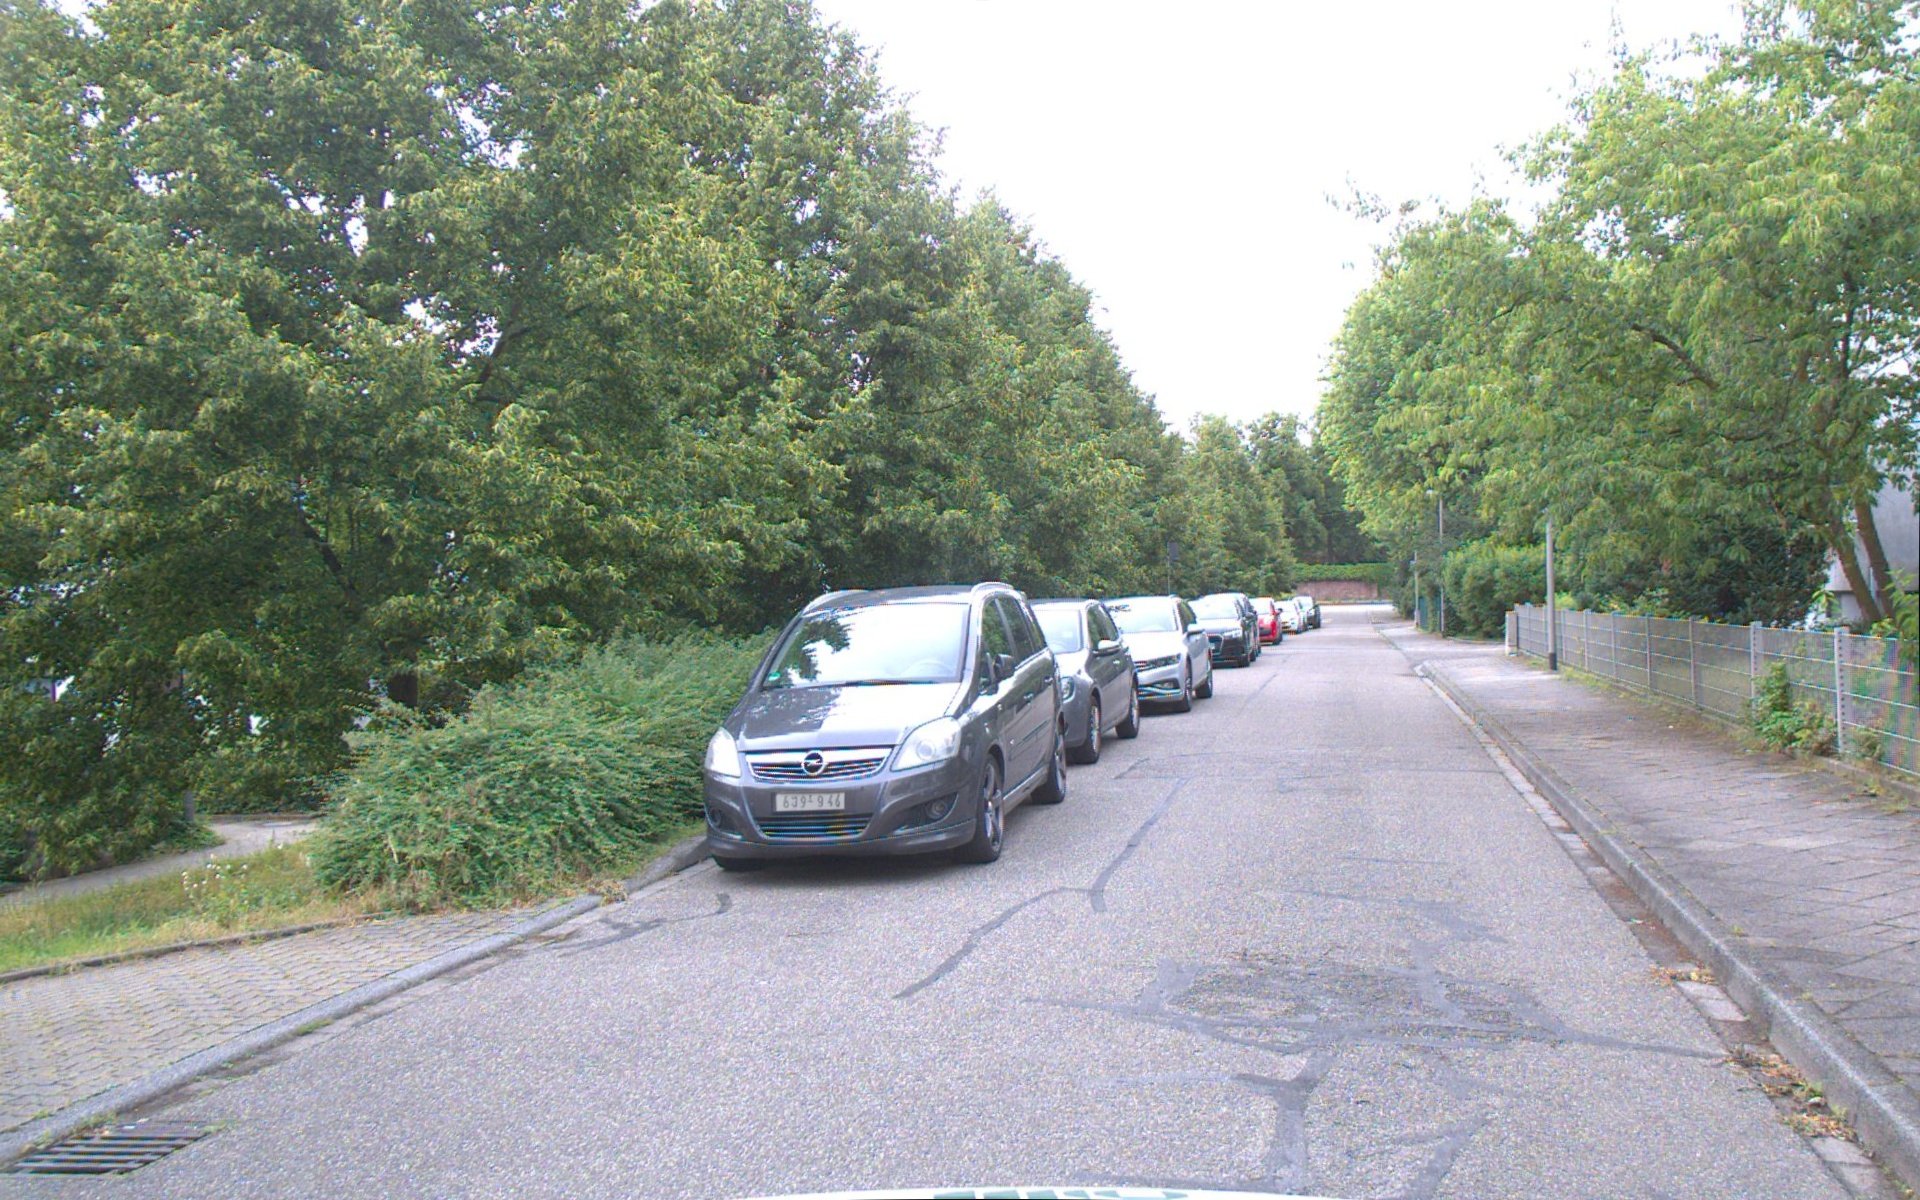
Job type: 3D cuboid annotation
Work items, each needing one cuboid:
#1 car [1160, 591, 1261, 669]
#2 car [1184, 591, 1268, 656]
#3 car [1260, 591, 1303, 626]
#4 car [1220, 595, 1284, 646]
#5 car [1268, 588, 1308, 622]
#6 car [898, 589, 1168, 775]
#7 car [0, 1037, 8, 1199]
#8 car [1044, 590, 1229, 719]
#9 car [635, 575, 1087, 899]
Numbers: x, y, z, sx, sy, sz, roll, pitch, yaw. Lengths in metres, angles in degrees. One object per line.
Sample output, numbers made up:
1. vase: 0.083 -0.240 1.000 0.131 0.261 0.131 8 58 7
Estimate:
1. car: 5.396 0.602 35.241 1.714 1.450 4.003 -3 0 14
2. car: 6.807 0.567 42.078 1.714 1.450 4.003 -3 0 14
3. car: 14.619 0.369 75.122 1.714 1.546 4.003 -1 0 14
4. car: 9.453 0.636 53.399 1.714 1.450 4.003 -3 0 14
5. car: 16.137 0.229 81.362 1.714 1.546 4.003 -2 0 14
6. car: 0.876 0.709 16.396 1.720 1.504 4.309 -4 0 15
7. car: -2.611 0.805 0.377 1.705 1.557 4.199 -3 0 14
8. car: 2.484 0.661 22.258 1.738 1.453 4.482 -3 0 15
9. car: -0.373 0.715 10.893 1.720 1.621 4.557 -4 0 12
